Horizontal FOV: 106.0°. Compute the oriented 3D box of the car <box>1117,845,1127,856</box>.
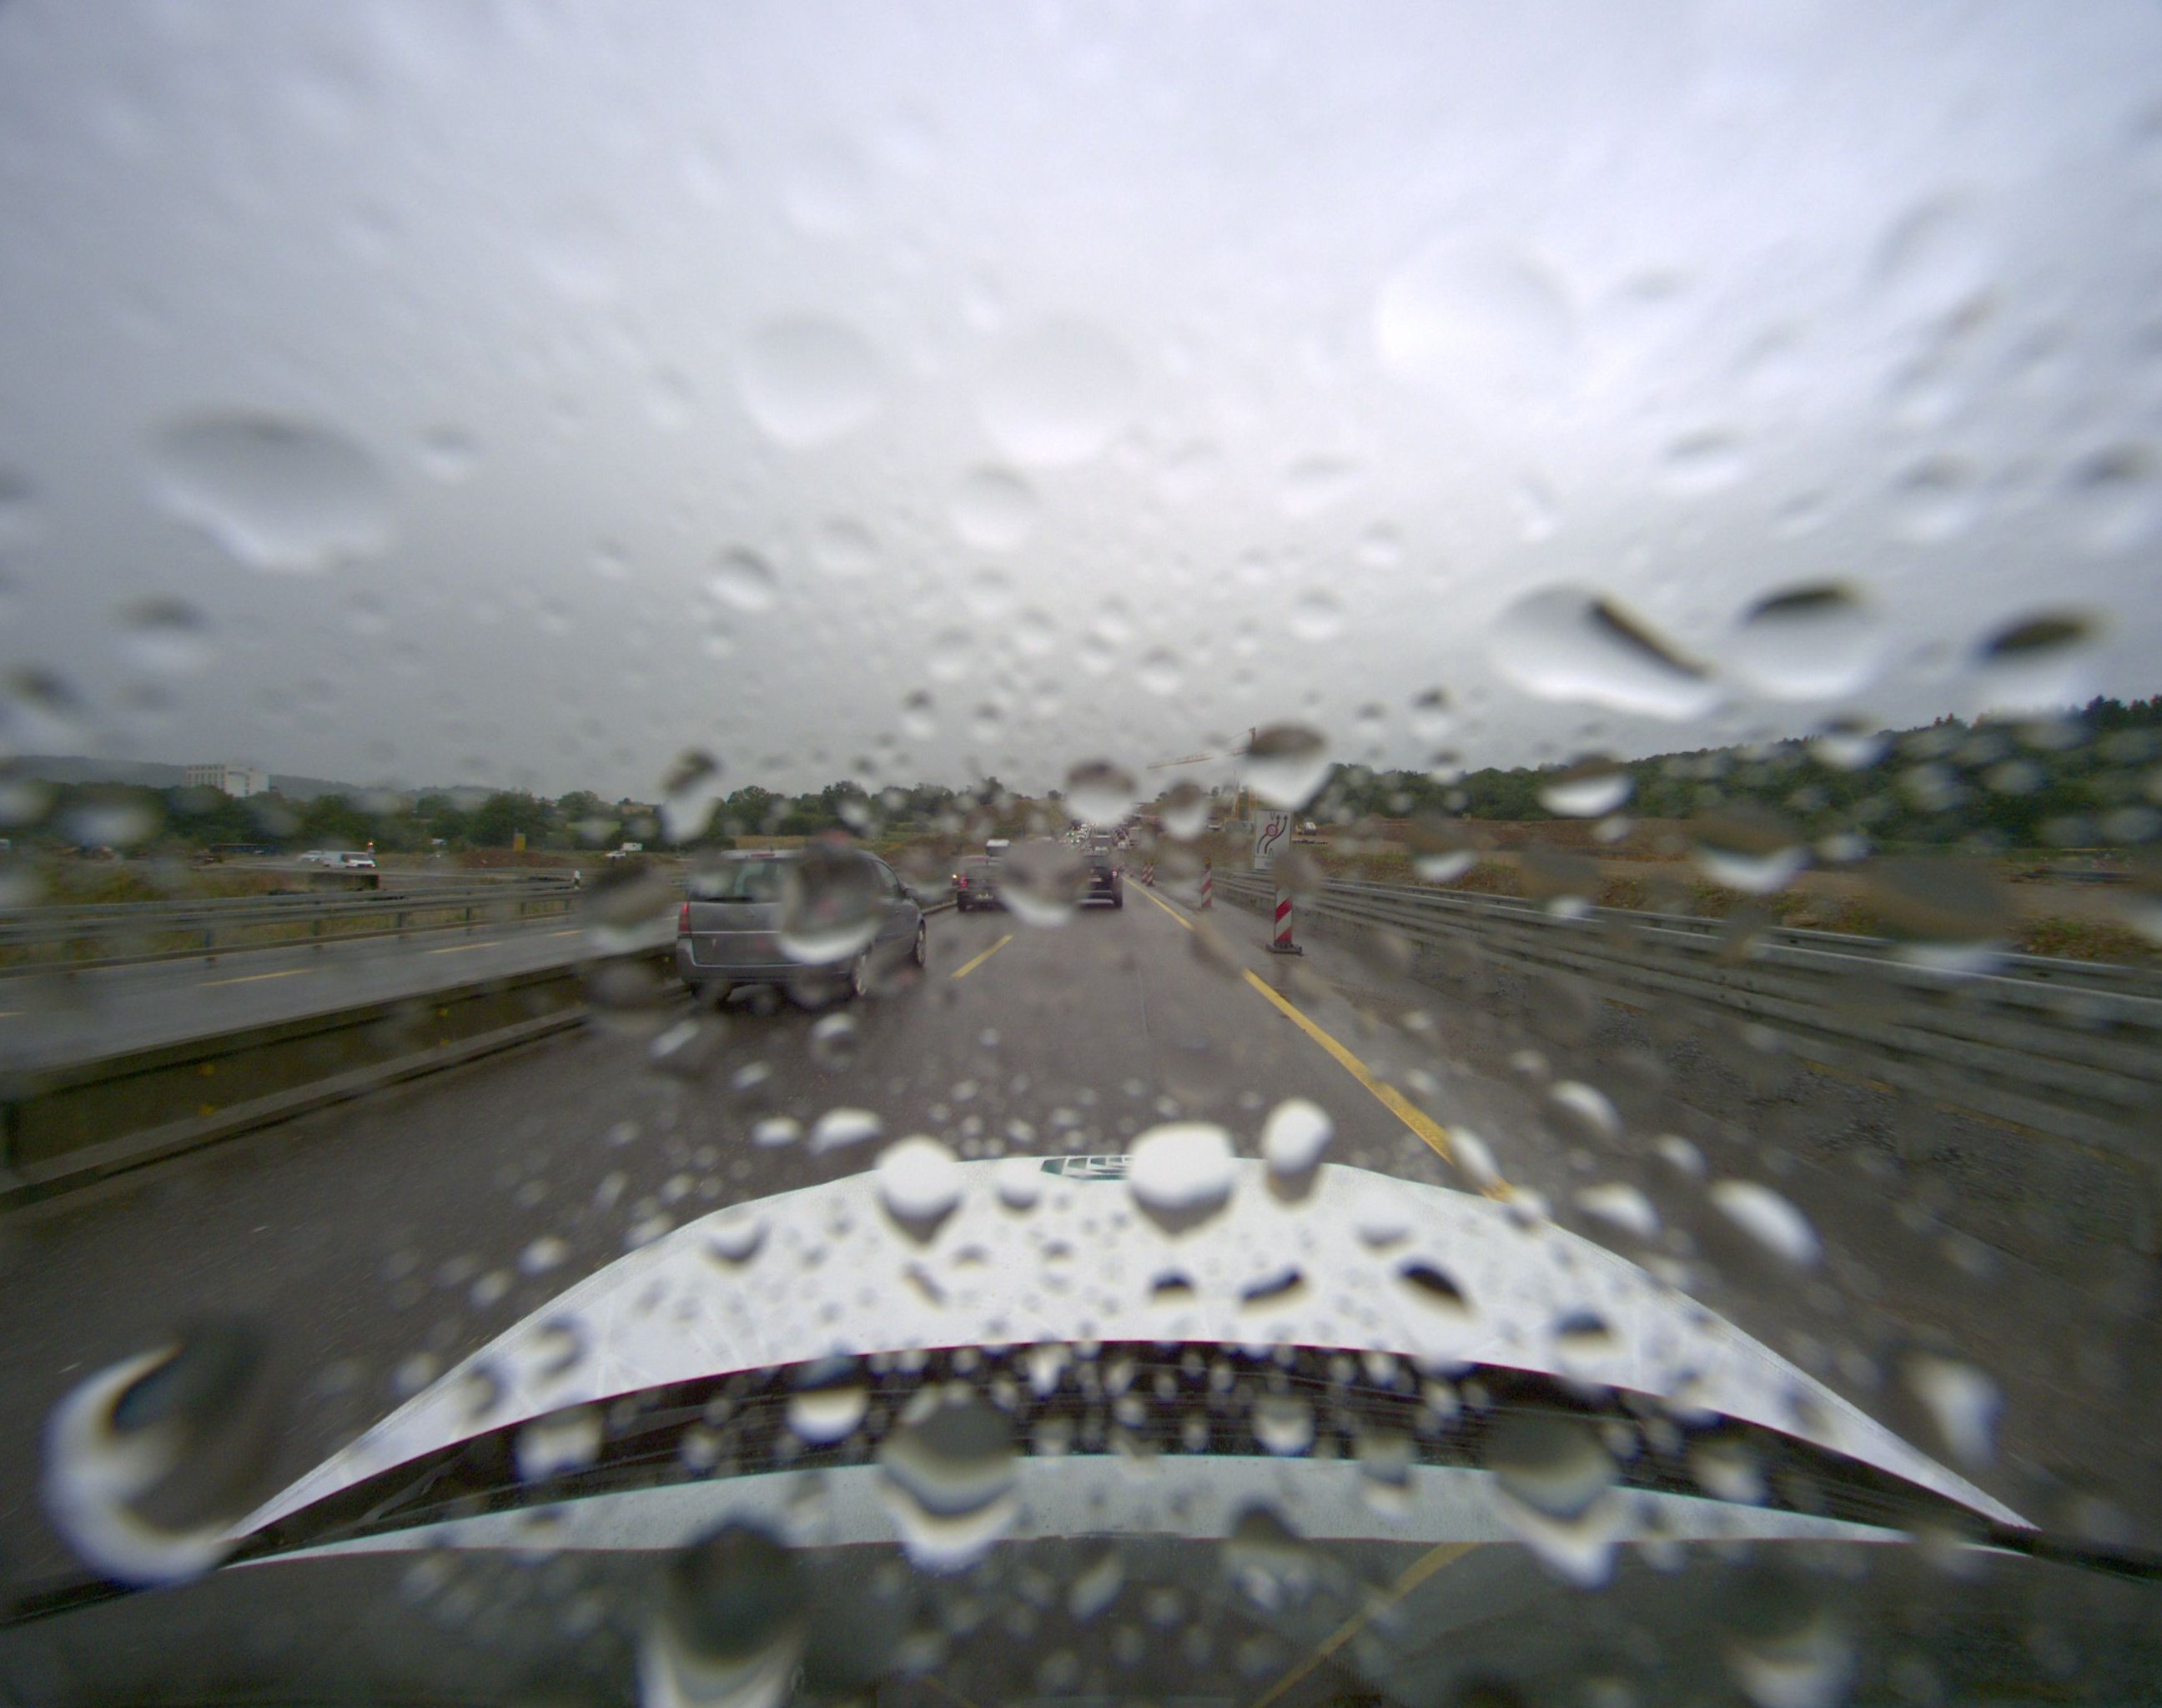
[{"bbox_3d":[9.019,-0.773,178.927,1.986,2.484,4.743,0,0,2],"label":"car"}]

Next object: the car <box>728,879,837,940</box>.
[{"bbox_3d":[-9.056,1.627,25.057,1.814,1.496,4.000,-1,1,0],"label":"car"}]

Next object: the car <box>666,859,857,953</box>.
[{"bbox_3d":[-6.182,0.925,16.412,1.900,1.449,4.413,-3,1,2],"label":"car"}]

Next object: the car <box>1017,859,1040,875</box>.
[{"bbox_3d":[-4.801,1.169,74.888,1.703,1.453,4.000,0,0,1],"label":"car"}]

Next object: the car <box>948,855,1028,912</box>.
[{"bbox_3d":[-2.730,0.838,24.846,1.987,1.600,4.139,0,0,0],"label":"car"}]

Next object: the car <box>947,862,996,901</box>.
[{"bbox_3d":[-5.618,1.378,42.500,1.840,1.748,4.843,-3,1,0],"label":"car"}]

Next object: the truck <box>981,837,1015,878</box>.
[{"bbox_3d":[-8.245,0.366,81.200,2.676,3.927,5.274,-2,-1,1],"label":"truck"}]

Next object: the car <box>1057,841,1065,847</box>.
[{"bbox_3d":[-5.094,-2.559,208.747,1.782,1.546,4.000,0,1,1],"label":"car"}]

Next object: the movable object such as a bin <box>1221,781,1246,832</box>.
[{"bbox_3d":[35.027,-10.741,186.332,4.683,10.842,10.345,-1,-1,15],"label":"movable object such as a bin"}]

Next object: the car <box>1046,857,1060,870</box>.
[{"bbox_3d":[-4.042,1.451,119.031,1.781,1.805,5.190,-2,-1,1],"label":"car"}]

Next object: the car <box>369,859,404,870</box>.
[{"bbox_3d":[-107.294,1.563,125.813,1.845,1.700,5.027,0,0,-11],"label":"car"}]

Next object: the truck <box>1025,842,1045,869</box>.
[{"bbox_3d":[-7.290,0.239,129.808,2.739,4.062,6.149,0,0,1],"label":"truck"}]

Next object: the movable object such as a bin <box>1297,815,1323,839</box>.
[{"bbox_3d":[38.275,-4.480,136.311,2.335,3.600,6.555,0,0,-2],"label":"movable object such as a bin"}]

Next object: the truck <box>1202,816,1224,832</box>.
[{"bbox_3d":[22.460,-5.109,139.224,2.636,2.554,6.984,0,0,0],"label":"truck"}]

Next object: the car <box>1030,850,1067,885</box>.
[{"bbox_3d":[-1.915,0.773,49.043,1.987,2.014,3.893,0,0,0],"label":"car"}]

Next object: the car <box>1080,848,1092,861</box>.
[{"bbox_3d":[0.875,0.090,135.503,1.986,2.163,4.142,0,0,1],"label":"car"}]

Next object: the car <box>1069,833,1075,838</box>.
[{"bbox_3d":[-2.734,-5.767,249.511,1.780,1.538,4.312,-1,0,1],"label":"car"}]

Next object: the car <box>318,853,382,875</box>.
[{"bbox_3d":[-69.352,0.964,77.273,4.989,2.014,2.283,0,-1,17],"label":"car"}]

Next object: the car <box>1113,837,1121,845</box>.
[{"bbox_3d":[8.816,-3.137,199.179,1.987,2.013,4.001,-1,1,1],"label":"car"}]

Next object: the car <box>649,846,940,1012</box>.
[{"bbox_3d":[-3.154,0.744,9.991,1.986,1.600,4.142,0,0,2],"label":"car"}]

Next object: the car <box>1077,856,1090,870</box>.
[{"bbox_3d":[0.386,1.369,125.154,1.986,2.163,4.142,0,0,2],"label":"car"}]

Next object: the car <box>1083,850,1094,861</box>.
[{"bbox_3d":[1.465,0.238,158.977,1.986,2.163,4.142,0,0,1],"label":"car"}]

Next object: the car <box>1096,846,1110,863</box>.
[{"bbox_3d":[3.311,0.030,121.900,1.986,2.484,4.983,0,0,1],"label":"car"}]

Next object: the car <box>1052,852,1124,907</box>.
[{"bbox_3d":[0.260,0.751,25.600,2.073,1.600,4.142,0,0,2],"label":"car"}]

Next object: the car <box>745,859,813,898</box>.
[{"bbox_3d":[-14.232,1.115,38.626,1.842,1.576,4.264,-3,1,-4],"label":"car"}]

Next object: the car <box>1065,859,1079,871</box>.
[{"bbox_3d":[-1.320,1.683,125.216,1.986,1.759,4.688,0,0,1],"label":"car"}]

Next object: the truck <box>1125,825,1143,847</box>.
[{"bbox_3d":[13.257,-4.499,203.574,3.791,5.042,12.921,0,0,0],"label":"truck"}]

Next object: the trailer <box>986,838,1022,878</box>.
[{"bbox_3d":[-8.109,0.390,87.018,2.676,3.963,9.821,-2,0,1],"label":"trailer"}]

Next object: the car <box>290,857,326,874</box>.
[{"bbox_3d":[-100.668,1.480,106.069,2.076,2.062,4.801,0,-1,-27],"label":"car"}]

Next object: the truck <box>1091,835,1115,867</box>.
[{"bbox_3d":[3.954,-0.463,144.794,3.083,5.426,9.466,0,0,9],"label":"truck"}]
